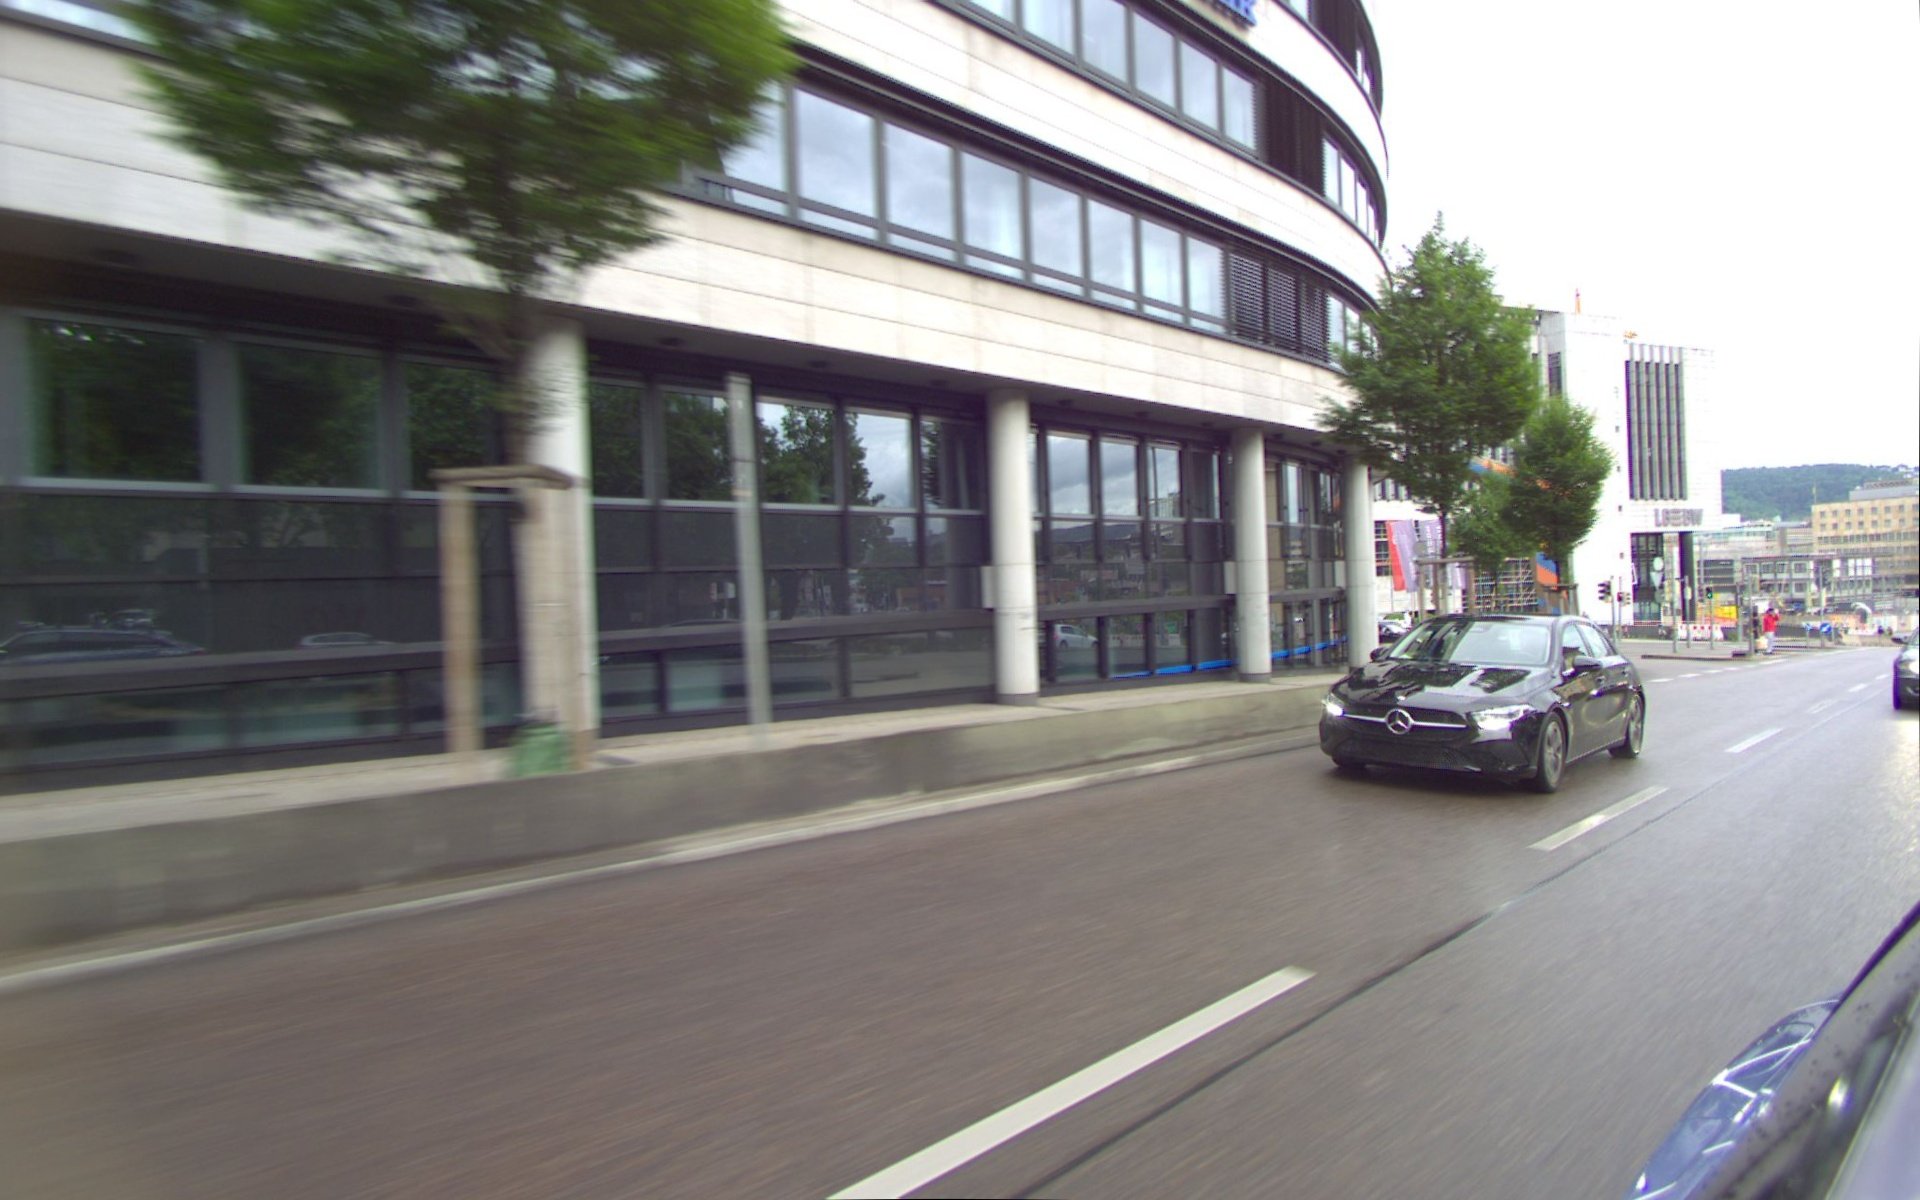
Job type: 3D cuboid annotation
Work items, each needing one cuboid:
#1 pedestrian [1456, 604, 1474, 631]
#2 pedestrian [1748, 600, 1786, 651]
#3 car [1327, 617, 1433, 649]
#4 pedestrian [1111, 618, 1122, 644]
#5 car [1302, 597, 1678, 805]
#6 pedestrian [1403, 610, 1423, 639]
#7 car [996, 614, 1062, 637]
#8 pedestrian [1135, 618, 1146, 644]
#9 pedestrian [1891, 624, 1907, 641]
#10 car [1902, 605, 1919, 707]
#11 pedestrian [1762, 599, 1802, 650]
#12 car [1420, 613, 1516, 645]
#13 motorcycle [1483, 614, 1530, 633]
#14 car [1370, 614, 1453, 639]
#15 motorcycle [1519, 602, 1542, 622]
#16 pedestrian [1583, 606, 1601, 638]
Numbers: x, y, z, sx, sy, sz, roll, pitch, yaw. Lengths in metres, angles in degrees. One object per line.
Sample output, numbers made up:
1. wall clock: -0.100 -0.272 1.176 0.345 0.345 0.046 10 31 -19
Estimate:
1. pedestrian: 32.469 1.126 65.076 0.829 1.732 0.730 -1 0 -43
2. pedestrian: 30.977 0.970 38.847 0.716 1.928 0.845 -1 0 -17
3. car: 20.935 1.639 50.644 1.830 1.460 4.717 -2 0 -31
4. pedestrian: 10.732 2.103 69.441 0.541 1.769 0.563 1 -2 -16
5. car: 5.002 0.716 9.279 4.156 1.425 1.757 0 2 -43
6. pedestrian: 29.114 1.575 65.010 0.765 1.841 0.971 -2 0 -2
7. car: 5.078 1.836 74.256 4.525 1.655 1.764 0 -1 21
8. pedestrian: 12.339 2.106 69.061 0.541 1.769 0.563 1 -2 -16
9. pedestrian: 88.152 3.031 94.977 0.788 1.595 0.735 -1 -1 -15
10. car: 15.656 0.815 15.462 1.740 1.462 3.935 -1 -2 44
11. pedestrian: 32.050 0.936 39.457 0.843 1.928 0.845 -1 0 -17
12. car: 26.052 1.492 52.013 1.835 1.460 3.994 -3 1 -40
13. motorcycle: 35.688 1.525 66.094 2.561 1.094 0.625 3 1 41
14. car: 27.439 1.623 61.637 4.565 1.470 1.692 -1 -1 24
15. motorcycle: 37.678 0.782 66.882 1.239 1.287 0.611 0 -1 41
16. pedestrian: 42.453 1.497 67.975 0.846 2.126 0.896 -3 -3 24
